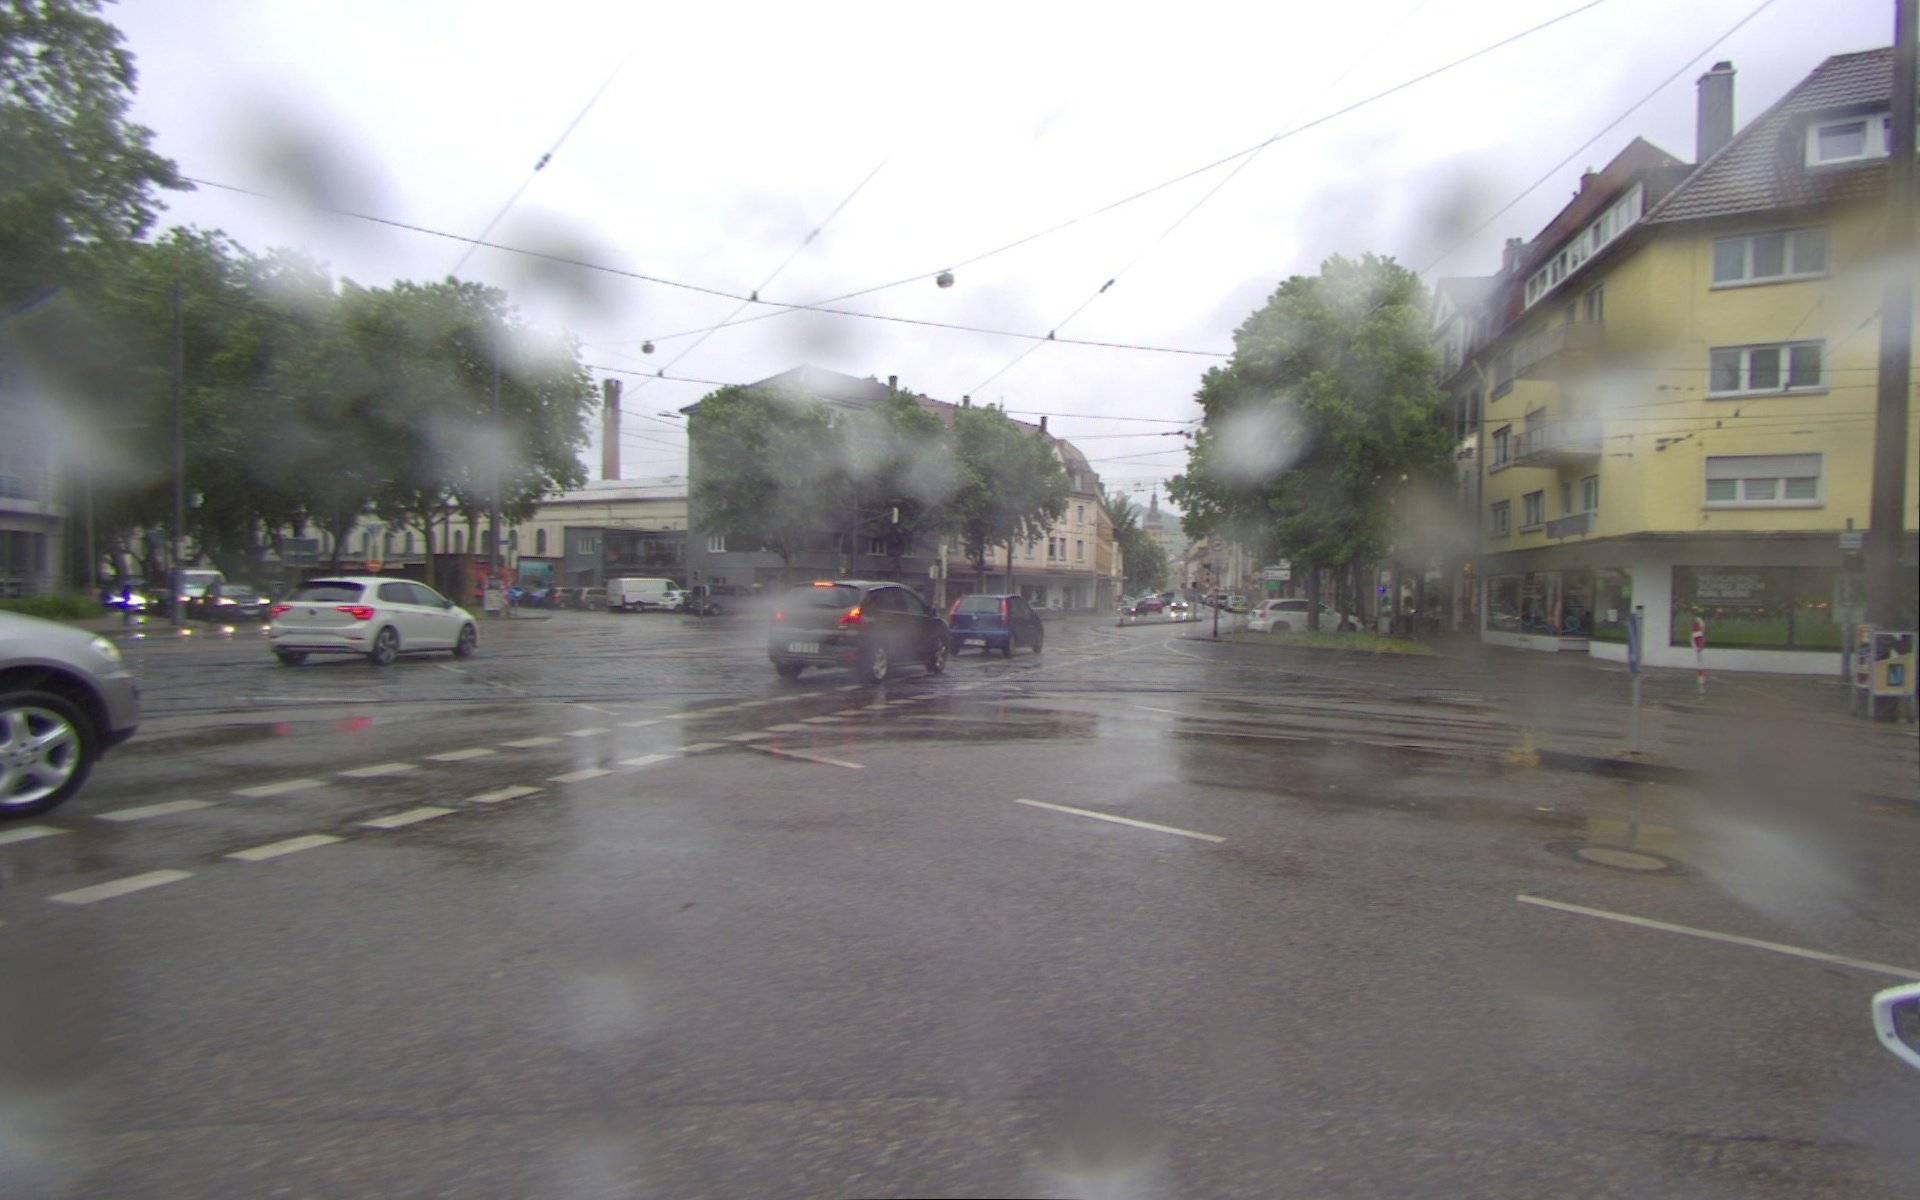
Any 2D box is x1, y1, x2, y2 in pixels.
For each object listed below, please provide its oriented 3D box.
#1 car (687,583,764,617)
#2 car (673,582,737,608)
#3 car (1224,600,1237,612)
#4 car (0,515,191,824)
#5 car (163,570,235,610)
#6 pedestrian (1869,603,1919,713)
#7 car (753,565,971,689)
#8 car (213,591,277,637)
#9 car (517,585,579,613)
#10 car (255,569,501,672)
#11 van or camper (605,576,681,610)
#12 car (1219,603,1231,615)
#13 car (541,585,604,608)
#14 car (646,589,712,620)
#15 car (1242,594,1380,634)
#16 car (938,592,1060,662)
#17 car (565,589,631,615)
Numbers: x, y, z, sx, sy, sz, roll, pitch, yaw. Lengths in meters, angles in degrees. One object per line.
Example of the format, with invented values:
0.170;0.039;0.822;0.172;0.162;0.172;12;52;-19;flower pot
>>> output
-15.060;0.004;64.607;2.039;2.040;4.370;3;1;44;car
-16.994;-0.291;67.107;1.893;1.639;3.991;2;1;31;car
33.690;0.774;125.138;1.451;1.380;3.464;3;0;15;car
-6.496;0.339;4.409;1.876;1.669;4.680;3;1;19;car
-36.660;-0.479;48.388;3.941;1.795;1.995;2;1;41;car
15.273;0.921;16.226;0.802;1.700;1.012;2;1;41;pedestrian
-1.456;0.382;16.720;1.773;1.732;4.188;3;1;23;car
-31.321;0.570;43.958;1.790;1.796;3.950;-1;2;-42;car
-31.468;-0.052;76.777;3.970;1.954;1.975;1;1;-42;car
-9.970;0.300;17.640;1.776;1.557;4.191;1;0;1;car
-21.642;-0.448;68.741;1.968;2.102;4.637;2;0;37;van or camper
34.609;1.181;131.174;1.451;1.380;3.464;3;0;15;car
-28.862;-0.282;74.873;1.969;1.635;3.982;1;0;39;car
-19.000;0.295;68.030;1.965;2.041;3.991;2;1;31;car
13.991;0.546;40.313;4.888;1.494;2.001;1;1;6;car
1.042;0.699;24.527;1.851;1.478;3.833;2;-2;20;car
-25.954;0.163;72.173;1.969;1.635;3.983;2;-2;39;car
